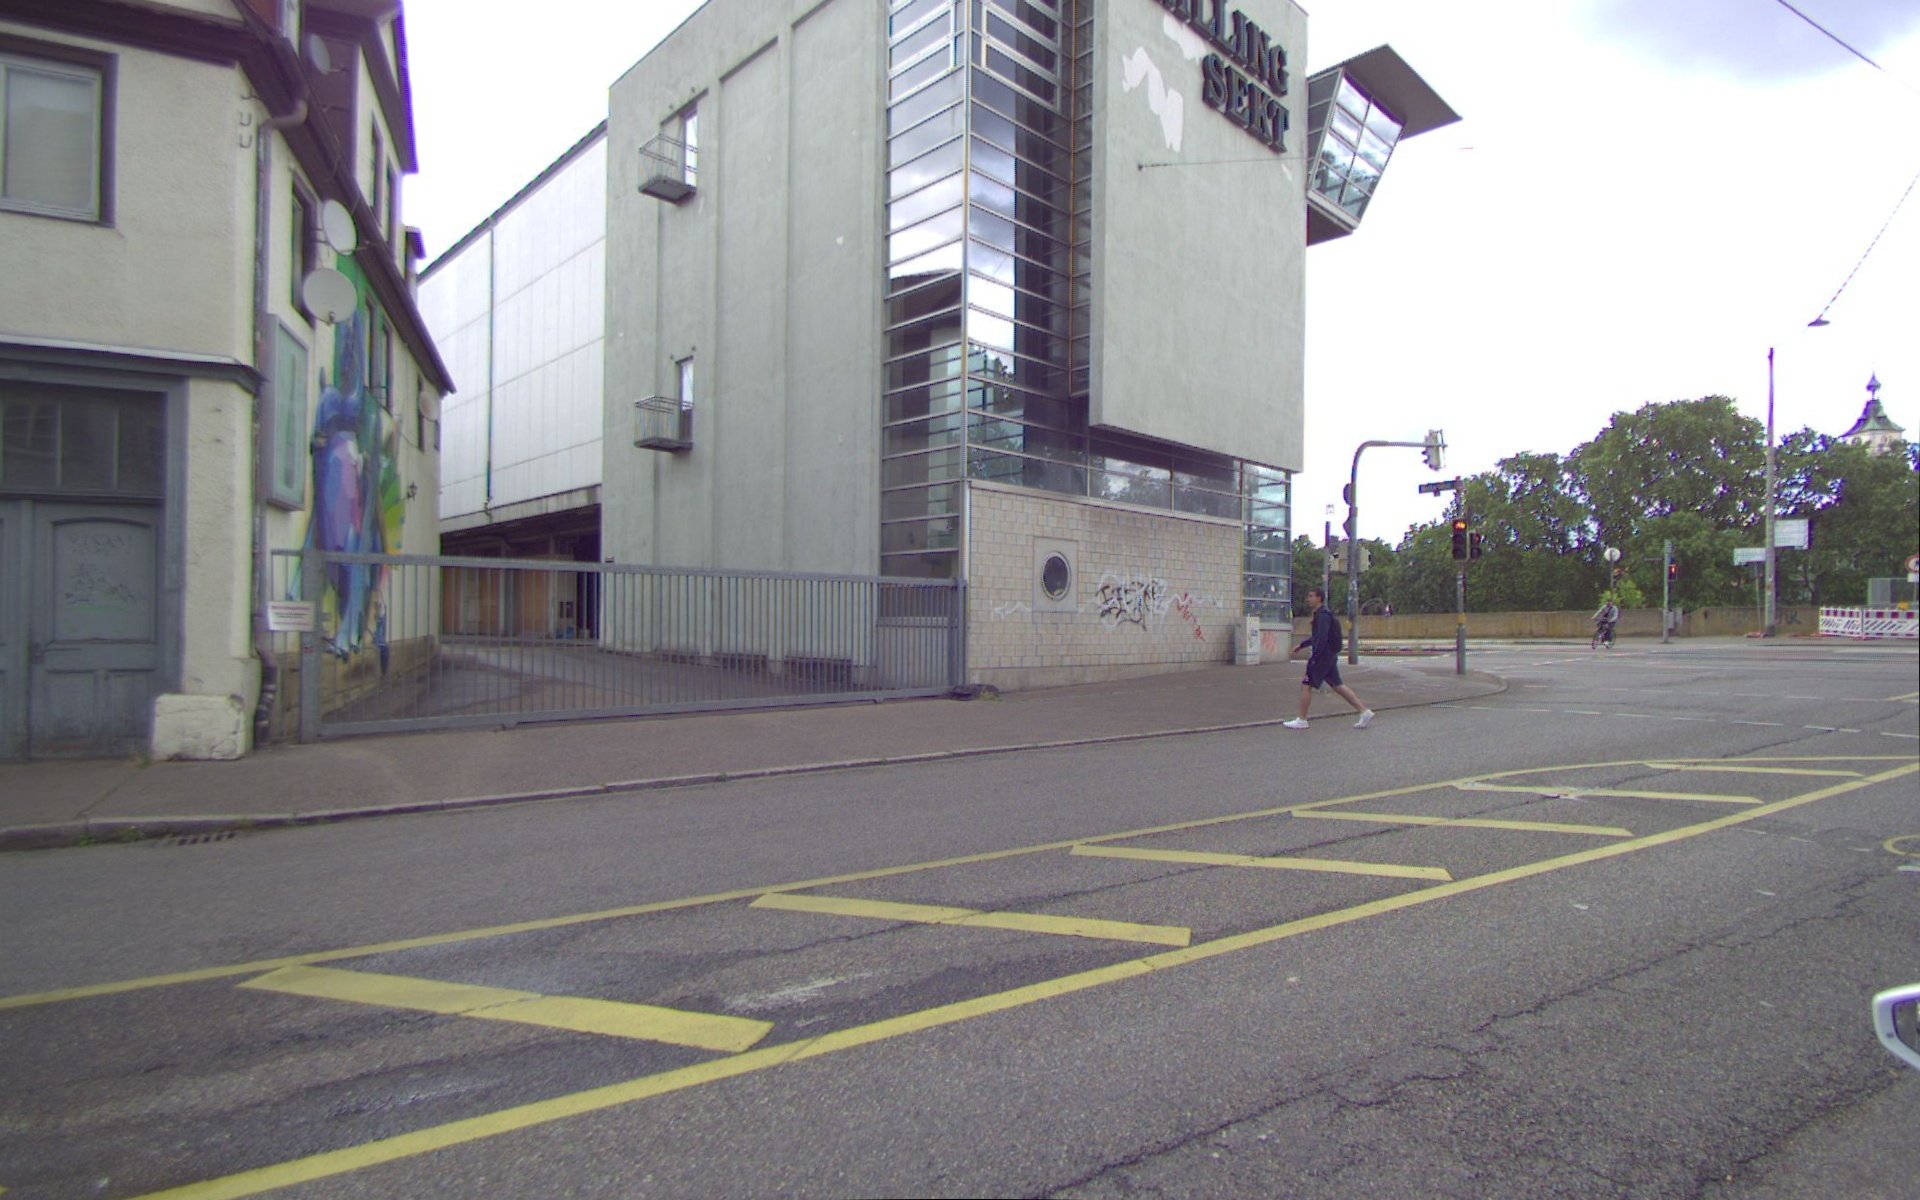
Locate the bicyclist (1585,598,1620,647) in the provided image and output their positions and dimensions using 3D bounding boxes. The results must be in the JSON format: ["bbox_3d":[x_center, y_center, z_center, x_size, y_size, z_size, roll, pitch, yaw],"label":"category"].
[{"bbox_3d":[22.796,0.793,35.647,0.800,1.723,0.721,1,-1,-25],"label":"bicyclist"}]

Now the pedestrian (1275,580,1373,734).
[{"bbox_3d":[4.767,0.699,13.133,1.071,1.911,1.056,0,1,27],"label":"pedestrian"}]

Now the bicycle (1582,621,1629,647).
[{"bbox_3d":[22.990,1.218,35.745,1.855,0.904,0.539,1,-1,-26],"label":"bicycle"}]
